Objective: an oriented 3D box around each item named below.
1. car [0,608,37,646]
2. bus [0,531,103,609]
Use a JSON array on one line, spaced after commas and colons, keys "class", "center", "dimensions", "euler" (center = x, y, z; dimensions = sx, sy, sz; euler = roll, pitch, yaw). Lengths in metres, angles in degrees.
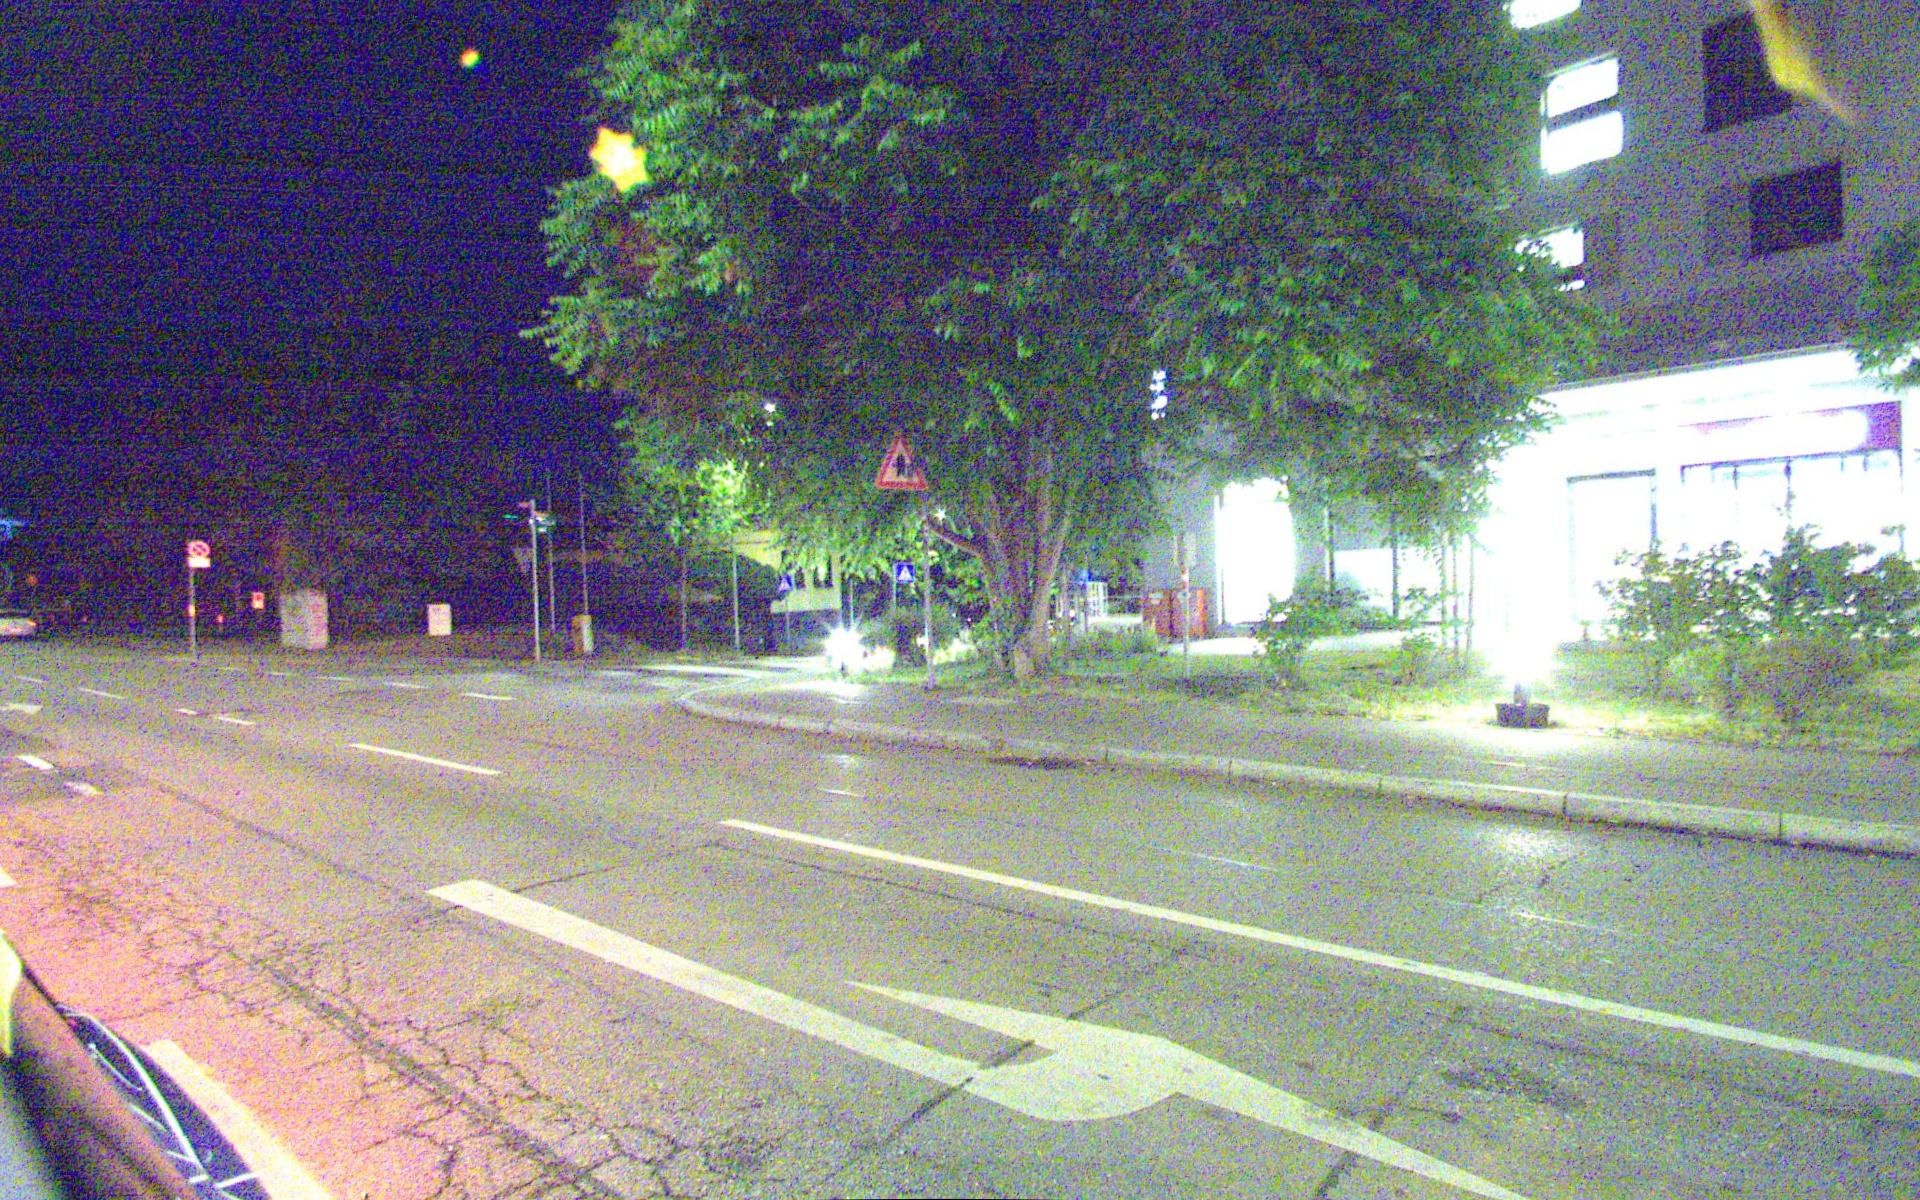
[{"class": "car", "center": [-43.188, 1.207, 45.609], "dimensions": [3.996, 1.604, 1.784], "euler": [-1, 0, 39]}, {"class": "bus", "center": [-88.525, -2.661, 98.156], "dimensions": [14.776, 6.990, 6.056], "euler": [-1, 0, 41]}]
